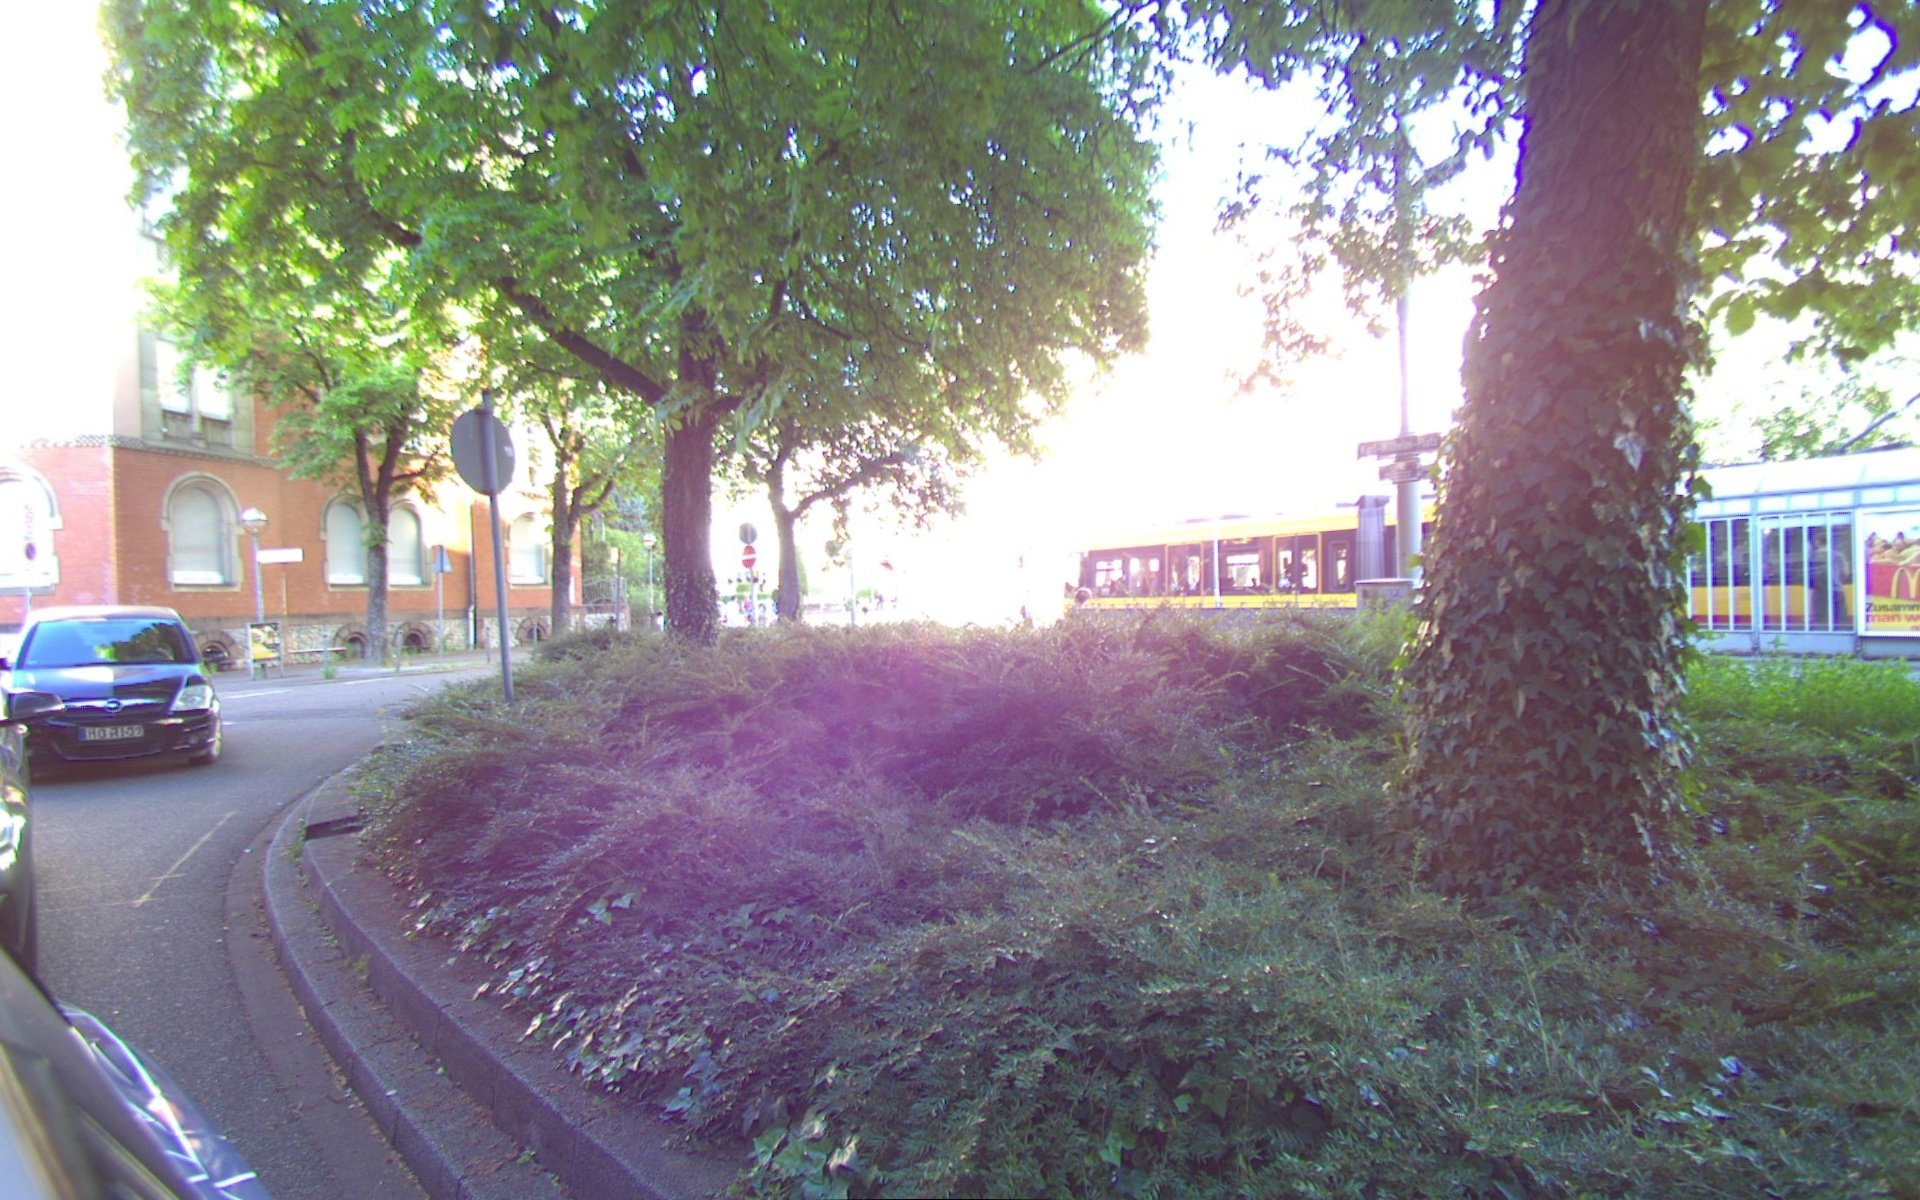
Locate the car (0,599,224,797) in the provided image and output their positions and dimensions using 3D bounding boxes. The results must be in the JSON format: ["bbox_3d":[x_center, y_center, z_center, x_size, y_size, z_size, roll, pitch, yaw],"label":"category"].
[{"bbox_3d":[-8.789,0.862,10.474,1.654,1.640,3.694,-2,0,-39],"label":"car"}]

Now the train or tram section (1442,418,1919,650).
[{"bbox_3d":[15.239,-1.043,17.993,2.739,3.614,12.456,-2,0,-32],"label":"train or tram section"}]

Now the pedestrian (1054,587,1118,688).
[{"bbox_3d":[1.876,0.548,15.114,0.698,1.454,0.602,-2,0,-25],"label":"pedestrian"}]

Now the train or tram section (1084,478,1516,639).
[{"bbox_3d":[8.634,-0.880,28.681,2.727,3.584,12.718,-2,0,-32],"label":"train or tram section"}]

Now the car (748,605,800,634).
[{"bbox_3d":[-9.886,1.004,53.588,1.707,1.428,4.013,-2,0,-25],"label":"car"}]

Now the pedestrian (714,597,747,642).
[{"bbox_3d":[-8.827,0.758,38.911,0.722,1.647,0.897,-3,1,27],"label":"pedestrian"}]

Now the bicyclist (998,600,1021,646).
[{"bbox_3d":[1.754,0.807,35.982,0.588,1.585,0.557,-2,0,-30],"label":"bicyclist"}]

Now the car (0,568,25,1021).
[{"bbox_3d":[-5.430,0.733,4.539,1.768,1.590,4.264,-1,-1,-43],"label":"car"}]

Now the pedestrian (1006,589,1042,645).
[{"bbox_3d":[1.993,0.519,31.497,0.722,1.647,0.896,-3,1,28],"label":"pedestrian"}]
